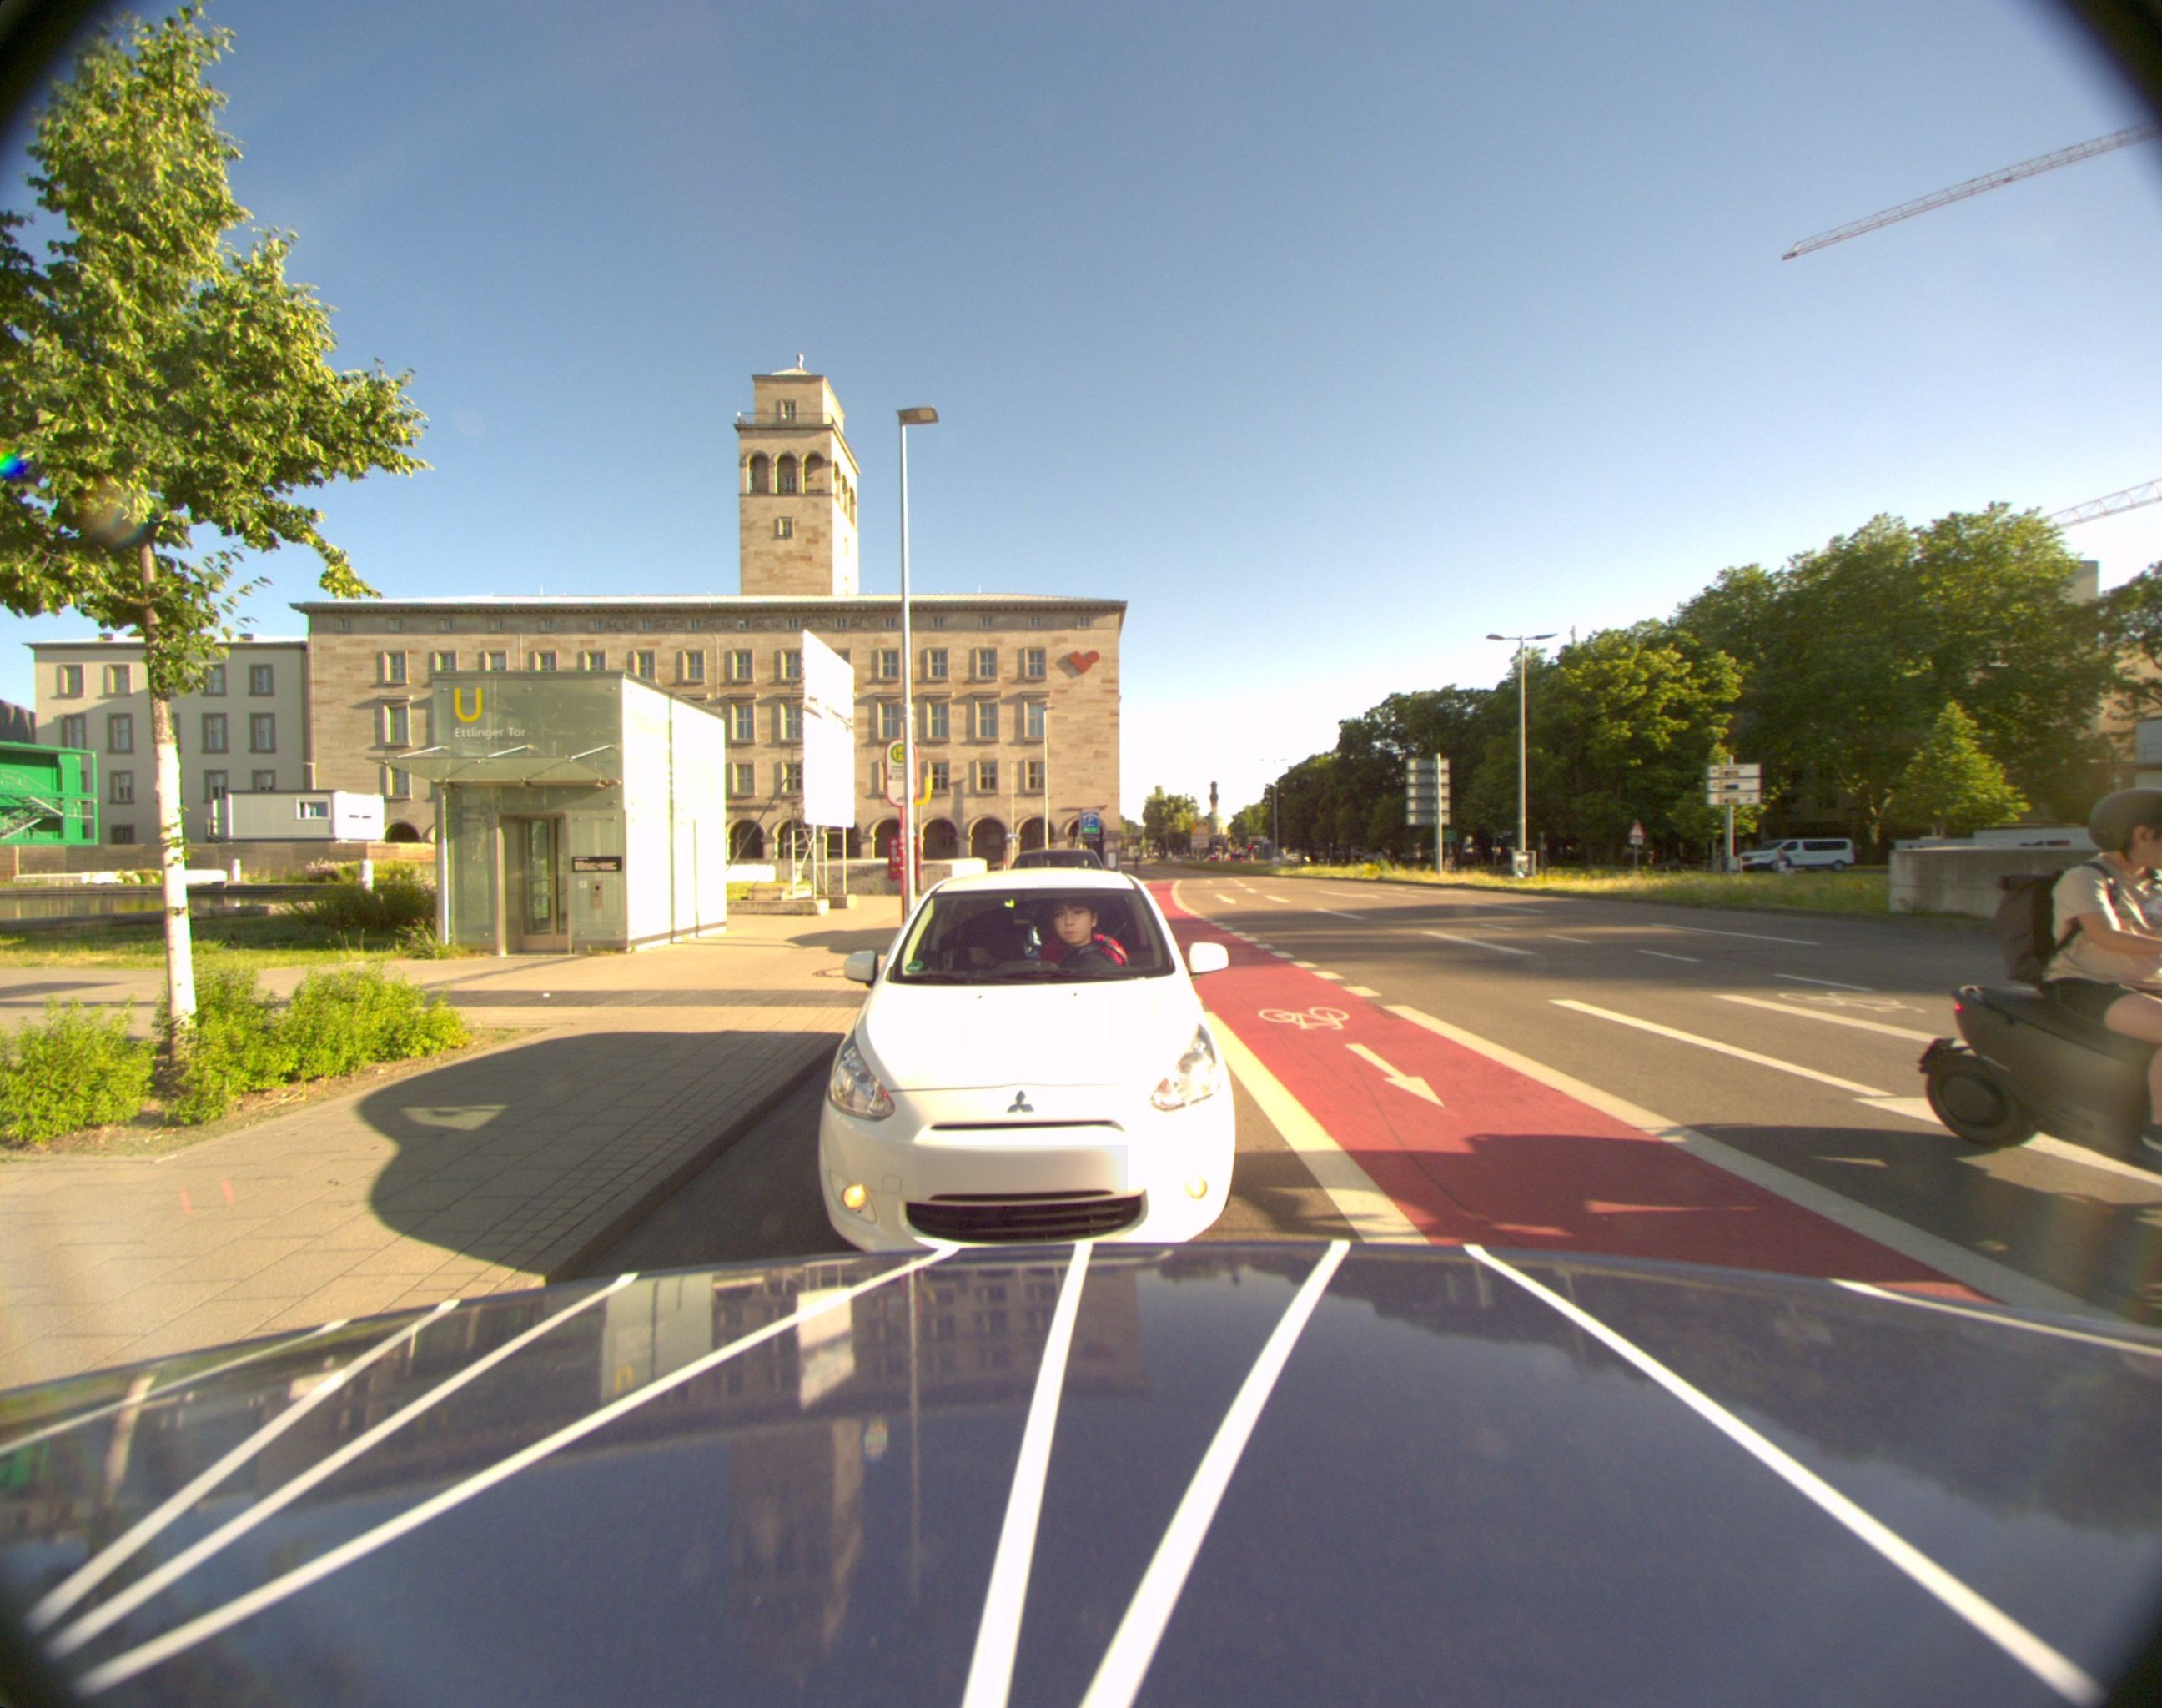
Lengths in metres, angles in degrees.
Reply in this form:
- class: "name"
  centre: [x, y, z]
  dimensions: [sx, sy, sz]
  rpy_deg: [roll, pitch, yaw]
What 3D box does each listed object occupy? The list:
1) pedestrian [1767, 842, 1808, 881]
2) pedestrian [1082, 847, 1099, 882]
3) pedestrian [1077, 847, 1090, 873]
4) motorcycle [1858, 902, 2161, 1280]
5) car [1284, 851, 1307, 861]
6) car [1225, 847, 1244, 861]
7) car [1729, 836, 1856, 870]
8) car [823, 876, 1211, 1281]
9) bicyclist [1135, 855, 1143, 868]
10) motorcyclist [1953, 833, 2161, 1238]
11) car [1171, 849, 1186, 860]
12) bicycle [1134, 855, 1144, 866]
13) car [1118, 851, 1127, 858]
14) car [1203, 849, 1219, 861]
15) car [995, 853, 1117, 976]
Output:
- class: "pedestrian"
  centre: [33.943, 0.366, 36.520]
  dimensions: [0.989, 1.821, 1.019]
  rpy_deg: [-2, 1, -3]
- class: "pedestrian"
  centre: [0.700, 0.751, 56.640]
  dimensions: [1.122, 2.524, 1.055]
  rpy_deg: [-2, 1, 1]
- class: "pedestrian"
  centre: [0.230, 0.570, 74.298]
  dimensions: [1.122, 2.524, 1.055]
  rpy_deg: [-2, 1, 1]
- class: "motorcycle"
  centre: [4.286, 0.899, 2.886]
  dimensions: [0.724, 1.286, 1.884]
  rpy_deg: [-2, 0, 1]
- class: "car"
  centre: [38.994, 0.291, 138.208]
  dimensions: [3.993, 1.677, 1.852]
  rpy_deg: [-2, 1, 11]
- class: "car"
  centre: [21.606, 0.004, 106.925]
  dimensions: [1.819, 1.817, 3.999]
  rpy_deg: [-2, 1, 1]
- class: "car"
  centre: [42.135, -0.045, 45.112]
  dimensions: [5.516, 1.924, 2.065]
  rpy_deg: [-1, 1, 2]
- class: "car"
  centre: [-0.231, 0.953, 4.839]
  dimensions: [1.496, 1.477, 3.604]
  rpy_deg: [-2, 0, 1]
- class: "bicyclist"
  centre: [6.340, 0.834, 83.048]
  dimensions: [0.854, 1.340, 0.829]
  rpy_deg: [-2, 1, 1]
- class: "motorcyclist"
  centre: [4.279, 0.654, 2.939]
  dimensions: [0.727, 1.466, 0.917]
  rpy_deg: [-2, 0, 1]
- class: "car"
  centre: [16.195, 0.130, 126.193]
  dimensions: [1.849, 1.677, 3.999]
  rpy_deg: [-2, 1, 1]
- class: "bicycle"
  centre: [6.319, 0.685, 83.187]
  dimensions: [0.854, 1.109, 2.808]
  rpy_deg: [-2, 0, 1]
- class: "car"
  centre: [11.207, 0.059, 204.485]
  dimensions: [1.877, 1.827, 4.584]
  rpy_deg: [-2, 1, -3]
- class: "car"
  centre: [20.586, 0.128, 120.441]
  dimensions: [1.747, 1.778, 3.947]
  rpy_deg: [-2, 1, 1]
- class: "car"
  centre: [-0.371, 0.839, 12.519]
  dimensions: [1.642, 1.653, 3.849]
  rpy_deg: [-2, 0, -1]
